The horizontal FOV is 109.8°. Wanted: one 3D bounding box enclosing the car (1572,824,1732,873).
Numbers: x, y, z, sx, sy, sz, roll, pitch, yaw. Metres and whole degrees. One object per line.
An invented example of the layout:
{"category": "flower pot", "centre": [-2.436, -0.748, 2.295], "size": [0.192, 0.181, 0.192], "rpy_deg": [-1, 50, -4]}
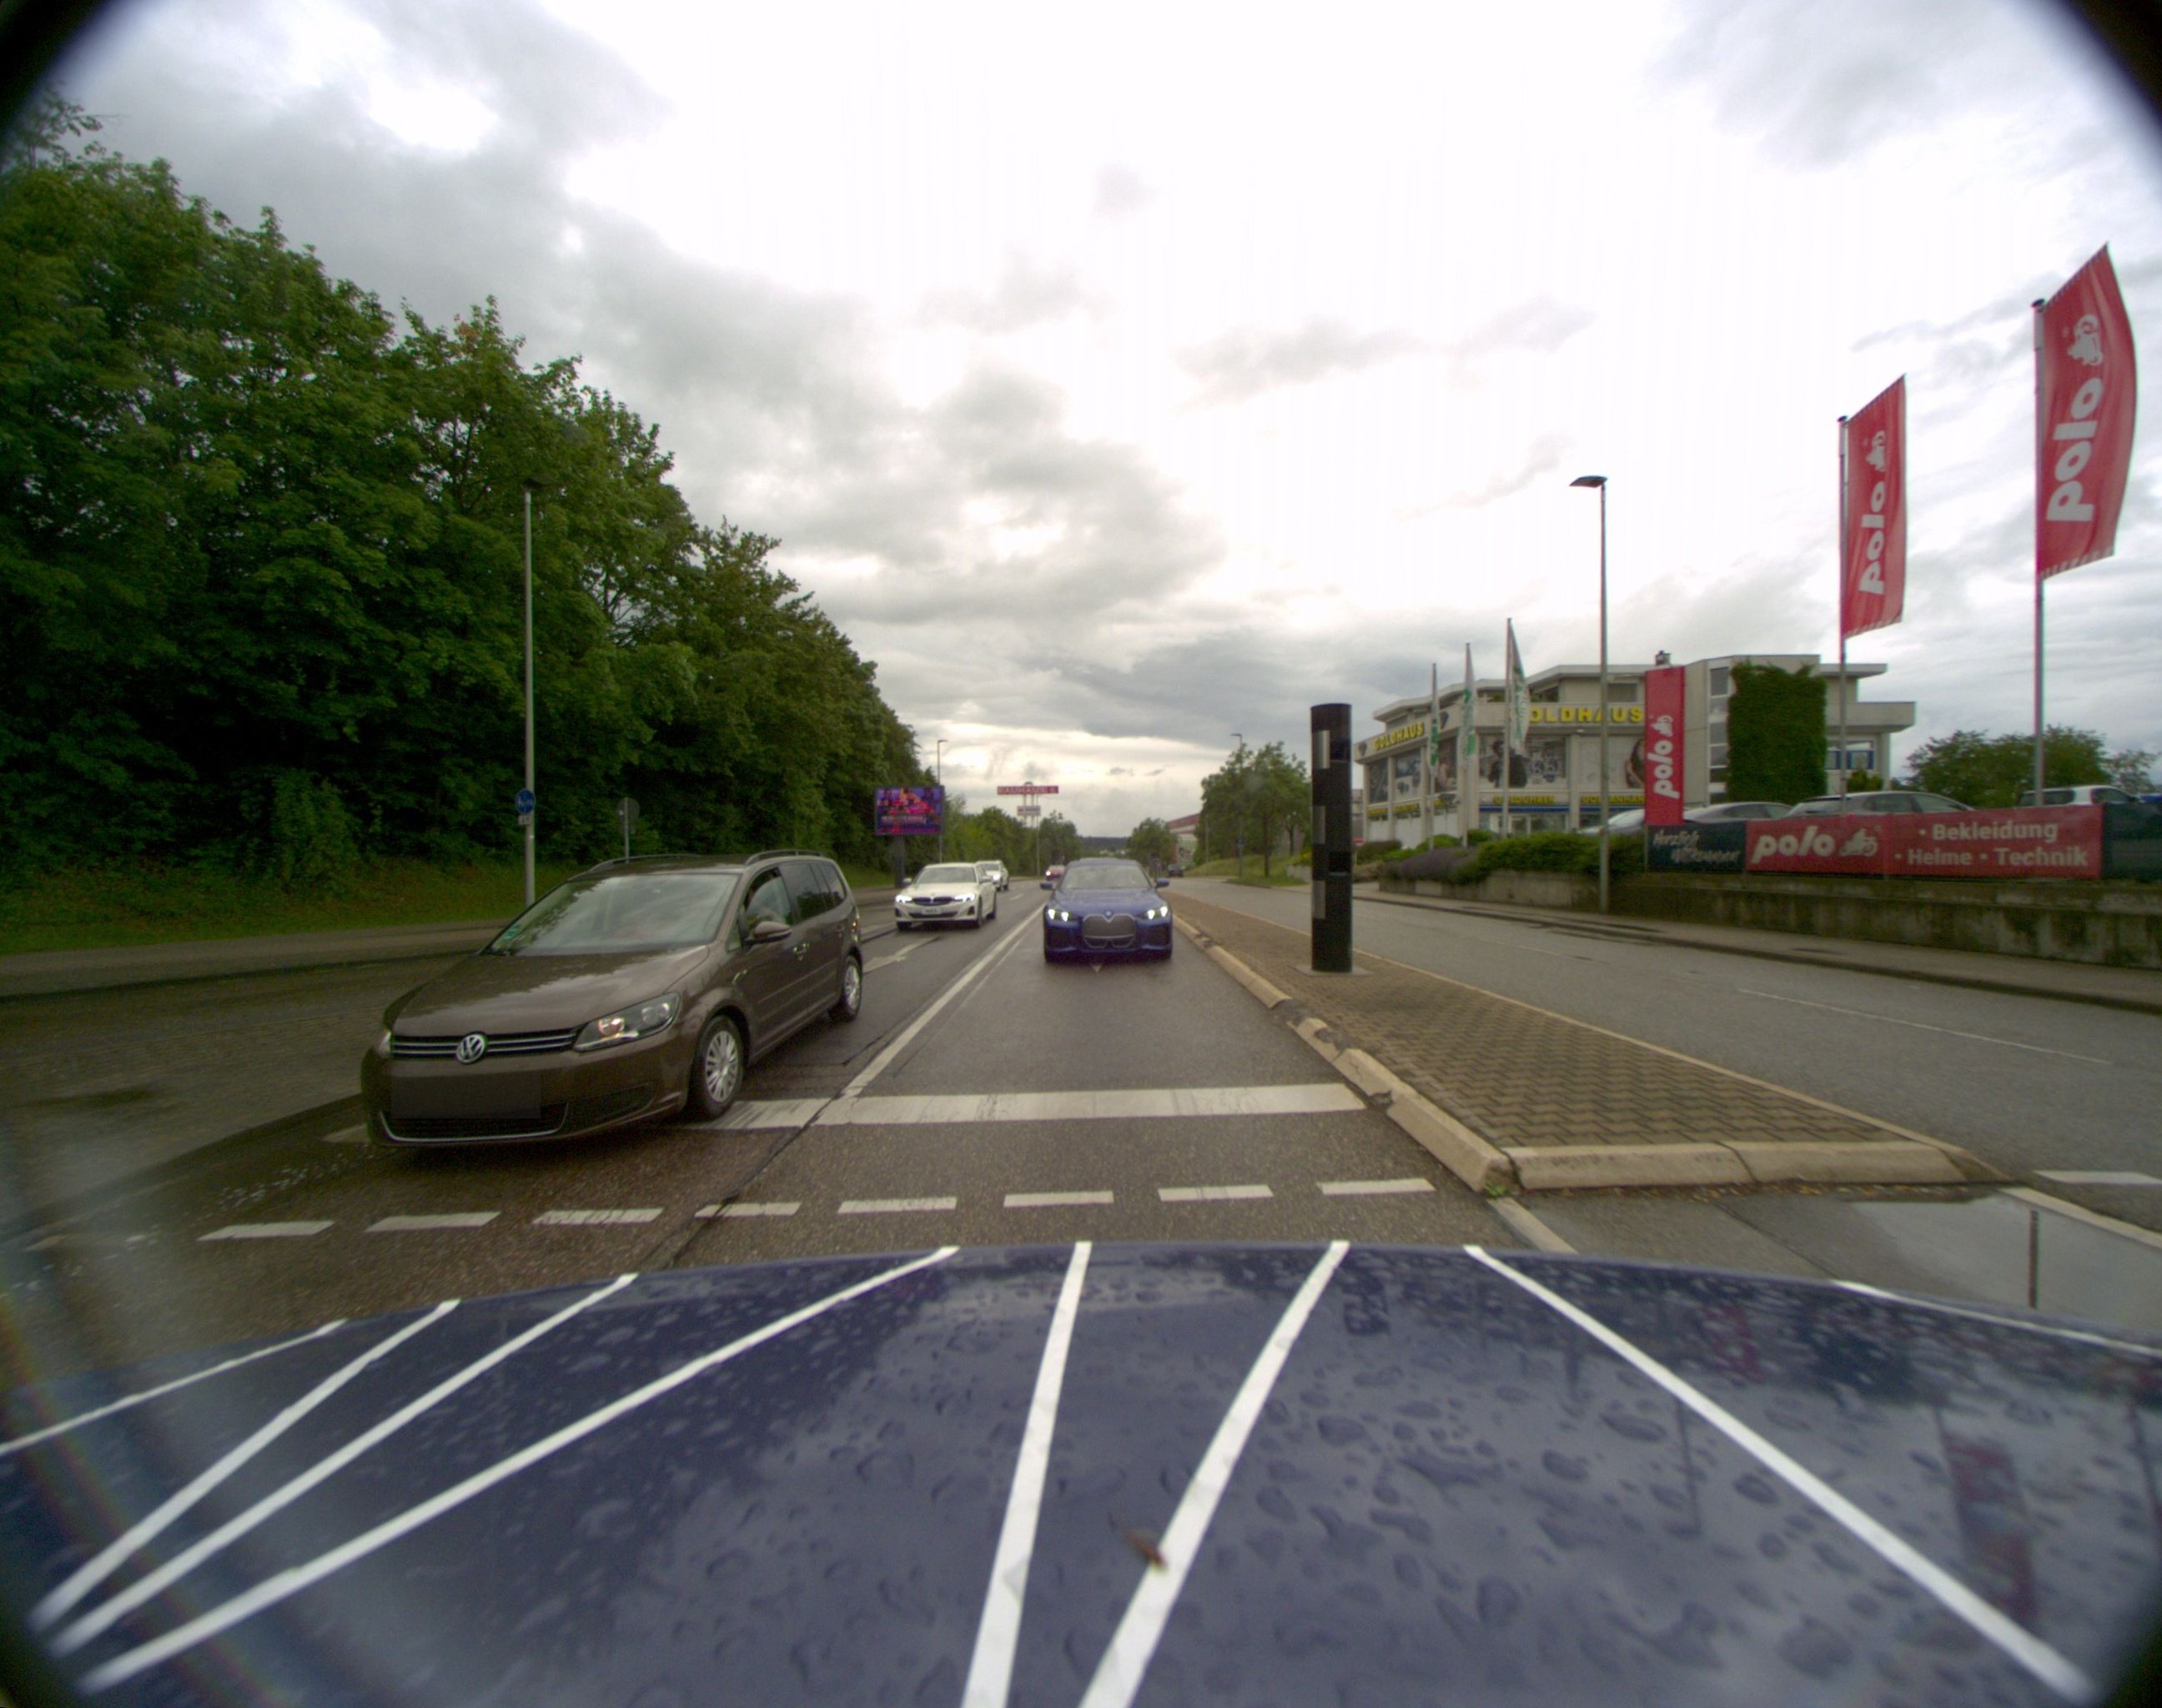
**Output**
{"category": "car", "centre": [16.036, -0.148, 21.432], "size": [3.394, 1.329, 1.454], "rpy_deg": [0, 0, 1]}

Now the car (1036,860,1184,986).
{"category": "car", "centre": [0.326, 0.867, 11.671], "size": [1.784, 1.448, 4.596], "rpy_deg": [-2, 0, -1]}

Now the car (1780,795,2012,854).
{"category": "car", "centre": [16.979, -0.585, 15.925], "size": [3.395, 1.161, 1.454], "rpy_deg": [0, 0, -2]}

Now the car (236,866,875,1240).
{"category": "car", "centre": [-2.963, 0.955, 5.495], "size": [1.751, 1.600, 3.980], "rpy_deg": [-2, 0, 1]}

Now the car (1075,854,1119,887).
{"category": "car", "centre": [0.839, 0.771, 37.624], "size": [1.998, 1.455, 4.368], "rpy_deg": [-2, 0, 2]}

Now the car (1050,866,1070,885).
{"category": "car", "centre": [-1.786, 1.814, 64.949], "size": [1.634, 1.448, 3.537], "rpy_deg": [-2, 0, -1]}

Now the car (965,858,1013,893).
{"category": "car", "centre": [-4.900, 1.110, 40.896], "size": [1.998, 1.717, 4.317], "rpy_deg": [-1, 0, 1]}

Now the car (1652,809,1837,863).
{"category": "car", "centre": [16.503, -0.424, 18.990], "size": [3.395, 1.270, 1.454], "rpy_deg": [0, 0, -2]}

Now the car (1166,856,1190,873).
{"category": "car", "centre": [11.842, 1.312, 93.110], "size": [2.350, 1.879, 4.546], "rpy_deg": [0, -2, 1]}

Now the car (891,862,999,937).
{"category": "car", "centre": [-3.092, 0.973, 18.244], "size": [1.784, 1.448, 4.679], "rpy_deg": [-2, 0, -1]}
